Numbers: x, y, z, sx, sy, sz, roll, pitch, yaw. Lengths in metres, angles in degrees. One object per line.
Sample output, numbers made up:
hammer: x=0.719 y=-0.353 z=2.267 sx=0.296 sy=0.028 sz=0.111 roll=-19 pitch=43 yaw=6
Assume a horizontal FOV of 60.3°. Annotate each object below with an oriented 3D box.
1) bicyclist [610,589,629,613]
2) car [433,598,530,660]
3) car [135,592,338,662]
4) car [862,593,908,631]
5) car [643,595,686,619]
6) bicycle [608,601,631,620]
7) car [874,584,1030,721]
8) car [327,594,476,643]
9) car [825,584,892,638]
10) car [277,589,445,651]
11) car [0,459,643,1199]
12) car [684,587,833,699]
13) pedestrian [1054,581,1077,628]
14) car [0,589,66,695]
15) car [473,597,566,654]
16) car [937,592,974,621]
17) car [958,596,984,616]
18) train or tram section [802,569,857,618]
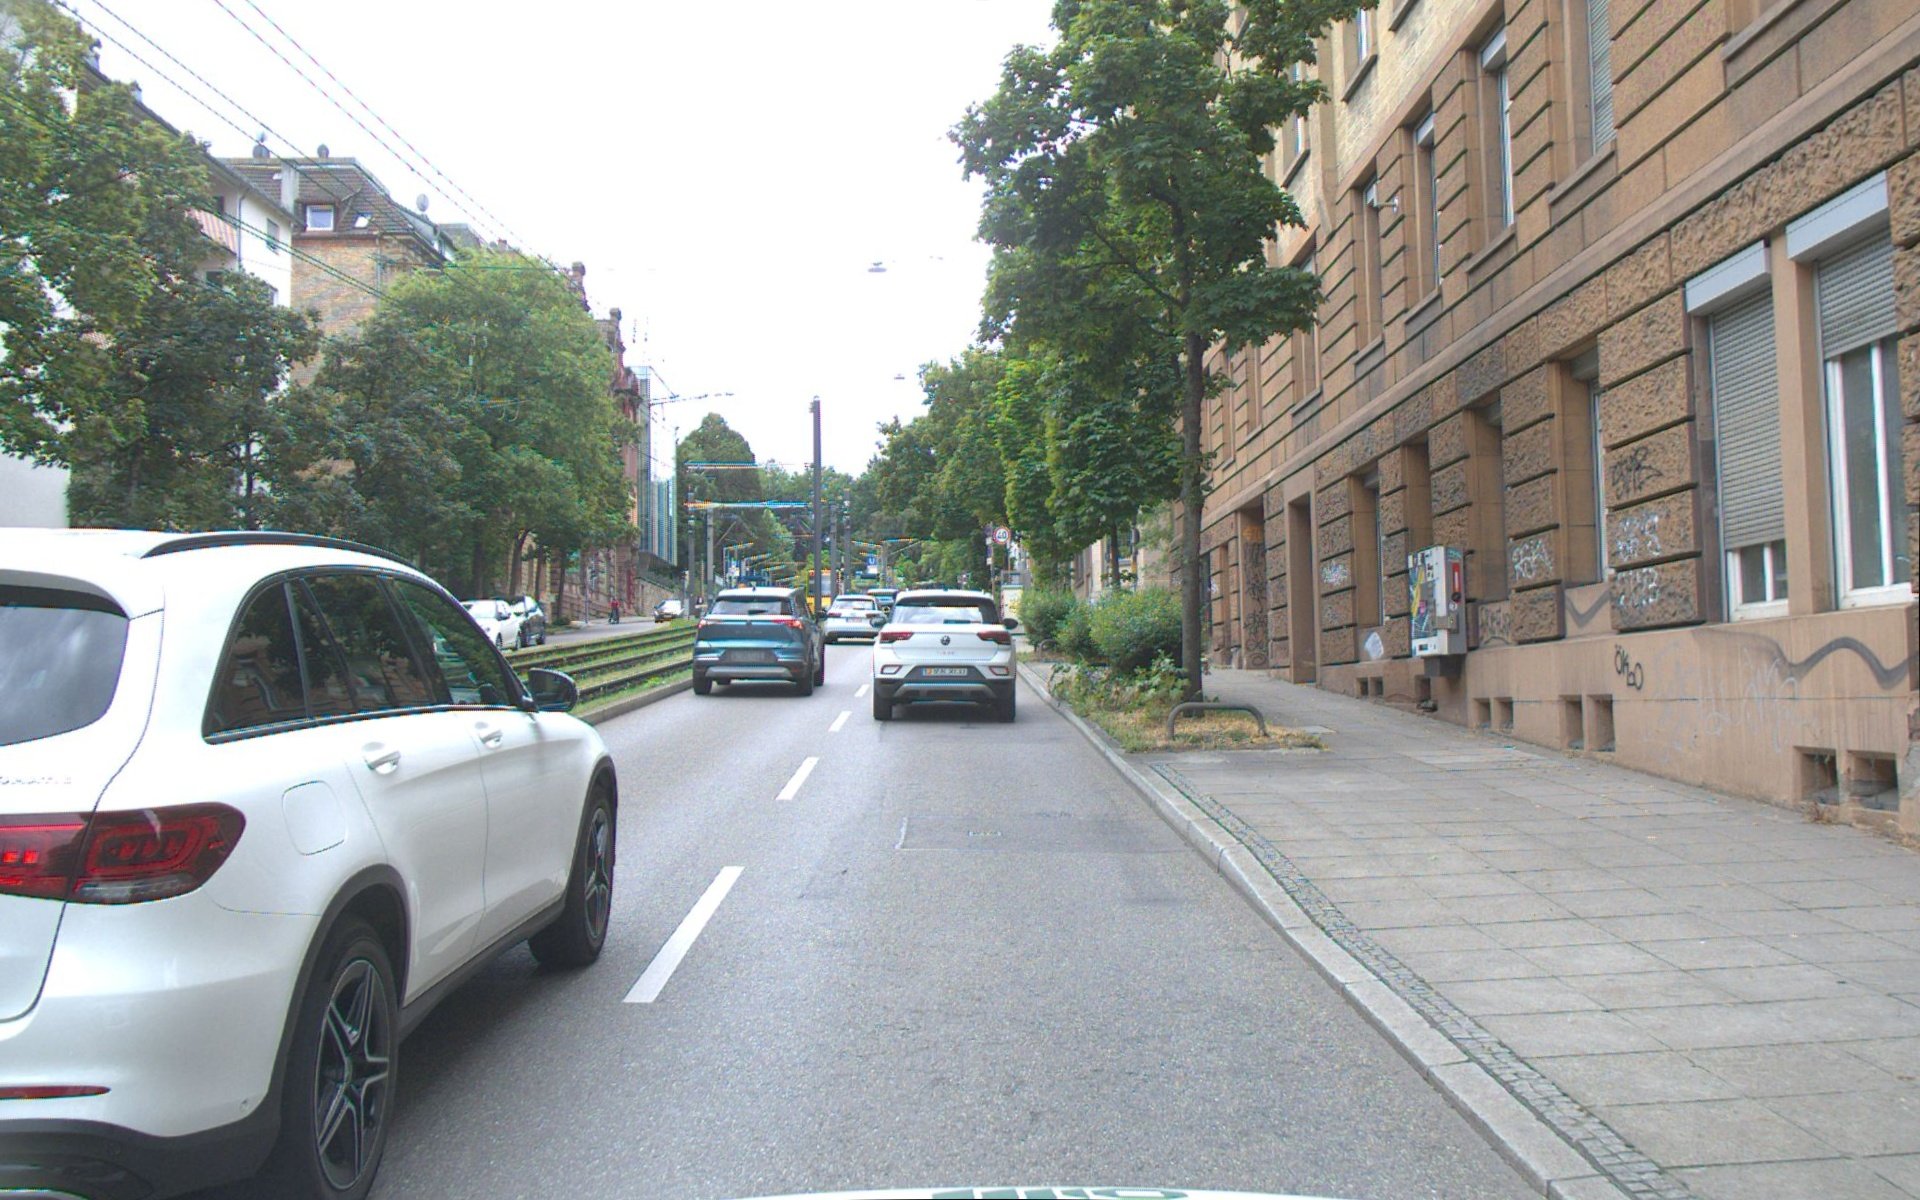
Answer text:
bicyclist: x=-21.457 y=0.050 z=104.262 sx=0.919 sy=1.450 sz=1.188 roll=-1 pitch=0 yaw=-1
car: x=-12.478 y=0.735 z=43.275 sx=1.556 sy=1.460 sz=3.412 roll=-2 pitch=0 yaw=-2
car: x=-18.680 y=0.696 z=42.765 sx=4.552 sy=1.711 sz=1.913 roll=1 pitch=0 yaw=-34
car: x=-3.164 y=0.499 z=70.677 sx=1.798 sy=1.573 sz=4.193 roll=1 pitch=0 yaw=0
car: x=-18.496 y=0.440 z=103.830 sx=1.953 sy=1.427 sz=4.000 roll=-1 pitch=0 yaw=0
bicycle: x=-21.454 y=0.662 z=104.220 sx=0.919 sy=1.119 sz=2.702 roll=-1 pitch=0 yaw=-1
car: x=-0.149 y=0.608 z=21.360 sx=1.798 sy=1.573 sz=4.192 roll=1 pitch=0 yaw=-2
car: x=-19.393 y=0.649 z=57.510 sx=4.553 sy=1.645 sz=1.913 roll=1 pitch=0 yaw=-35
car: x=-3.066 y=0.325 z=50.771 sx=1.798 sy=1.573 sz=4.193 roll=1 pitch=0 yaw=0
car: x=-18.639 y=0.618 z=51.632 sx=1.902 sy=1.829 sz=4.579 roll=1 pitch=0 yaw=42
car: x=-2.290 y=0.601 z=5.083 sx=1.798 sy=1.696 sz=4.669 roll=1 pitch=0 yaw=-1
car: x=-3.026 y=0.604 z=25.649 sx=1.798 sy=1.573 sz=4.193 roll=1 pitch=0 yaw=0
pedestrian: x=3.810 y=0.154 z=59.877 sx=0.695 sy=1.691 sz=1.128 roll=-1 pitch=1 yaw=9
car: x=-18.493 y=0.776 z=29.780 sx=4.130 sy=1.868 sz=1.855 roll=-1 pitch=0 yaw=-28
car: x=-14.491 y=0.796 z=54.636 sx=1.878 sy=1.678 sz=4.606 roll=-2 pitch=0 yaw=-2
car: x=-0.255 y=0.354 z=91.489 sx=2.026 sy=1.573 sz=4.193 roll=1 pitch=0 yaw=0
car: x=0.889 y=0.504 z=133.327 sx=2.026 sy=1.573 sz=4.193 roll=1 pitch=0 yaw=0
train or tram section: x=-9.538 y=-0.471 z=122.415 sx=2.934 sy=3.407 sz=13.438 roll=-1 pitch=0 yaw=0
